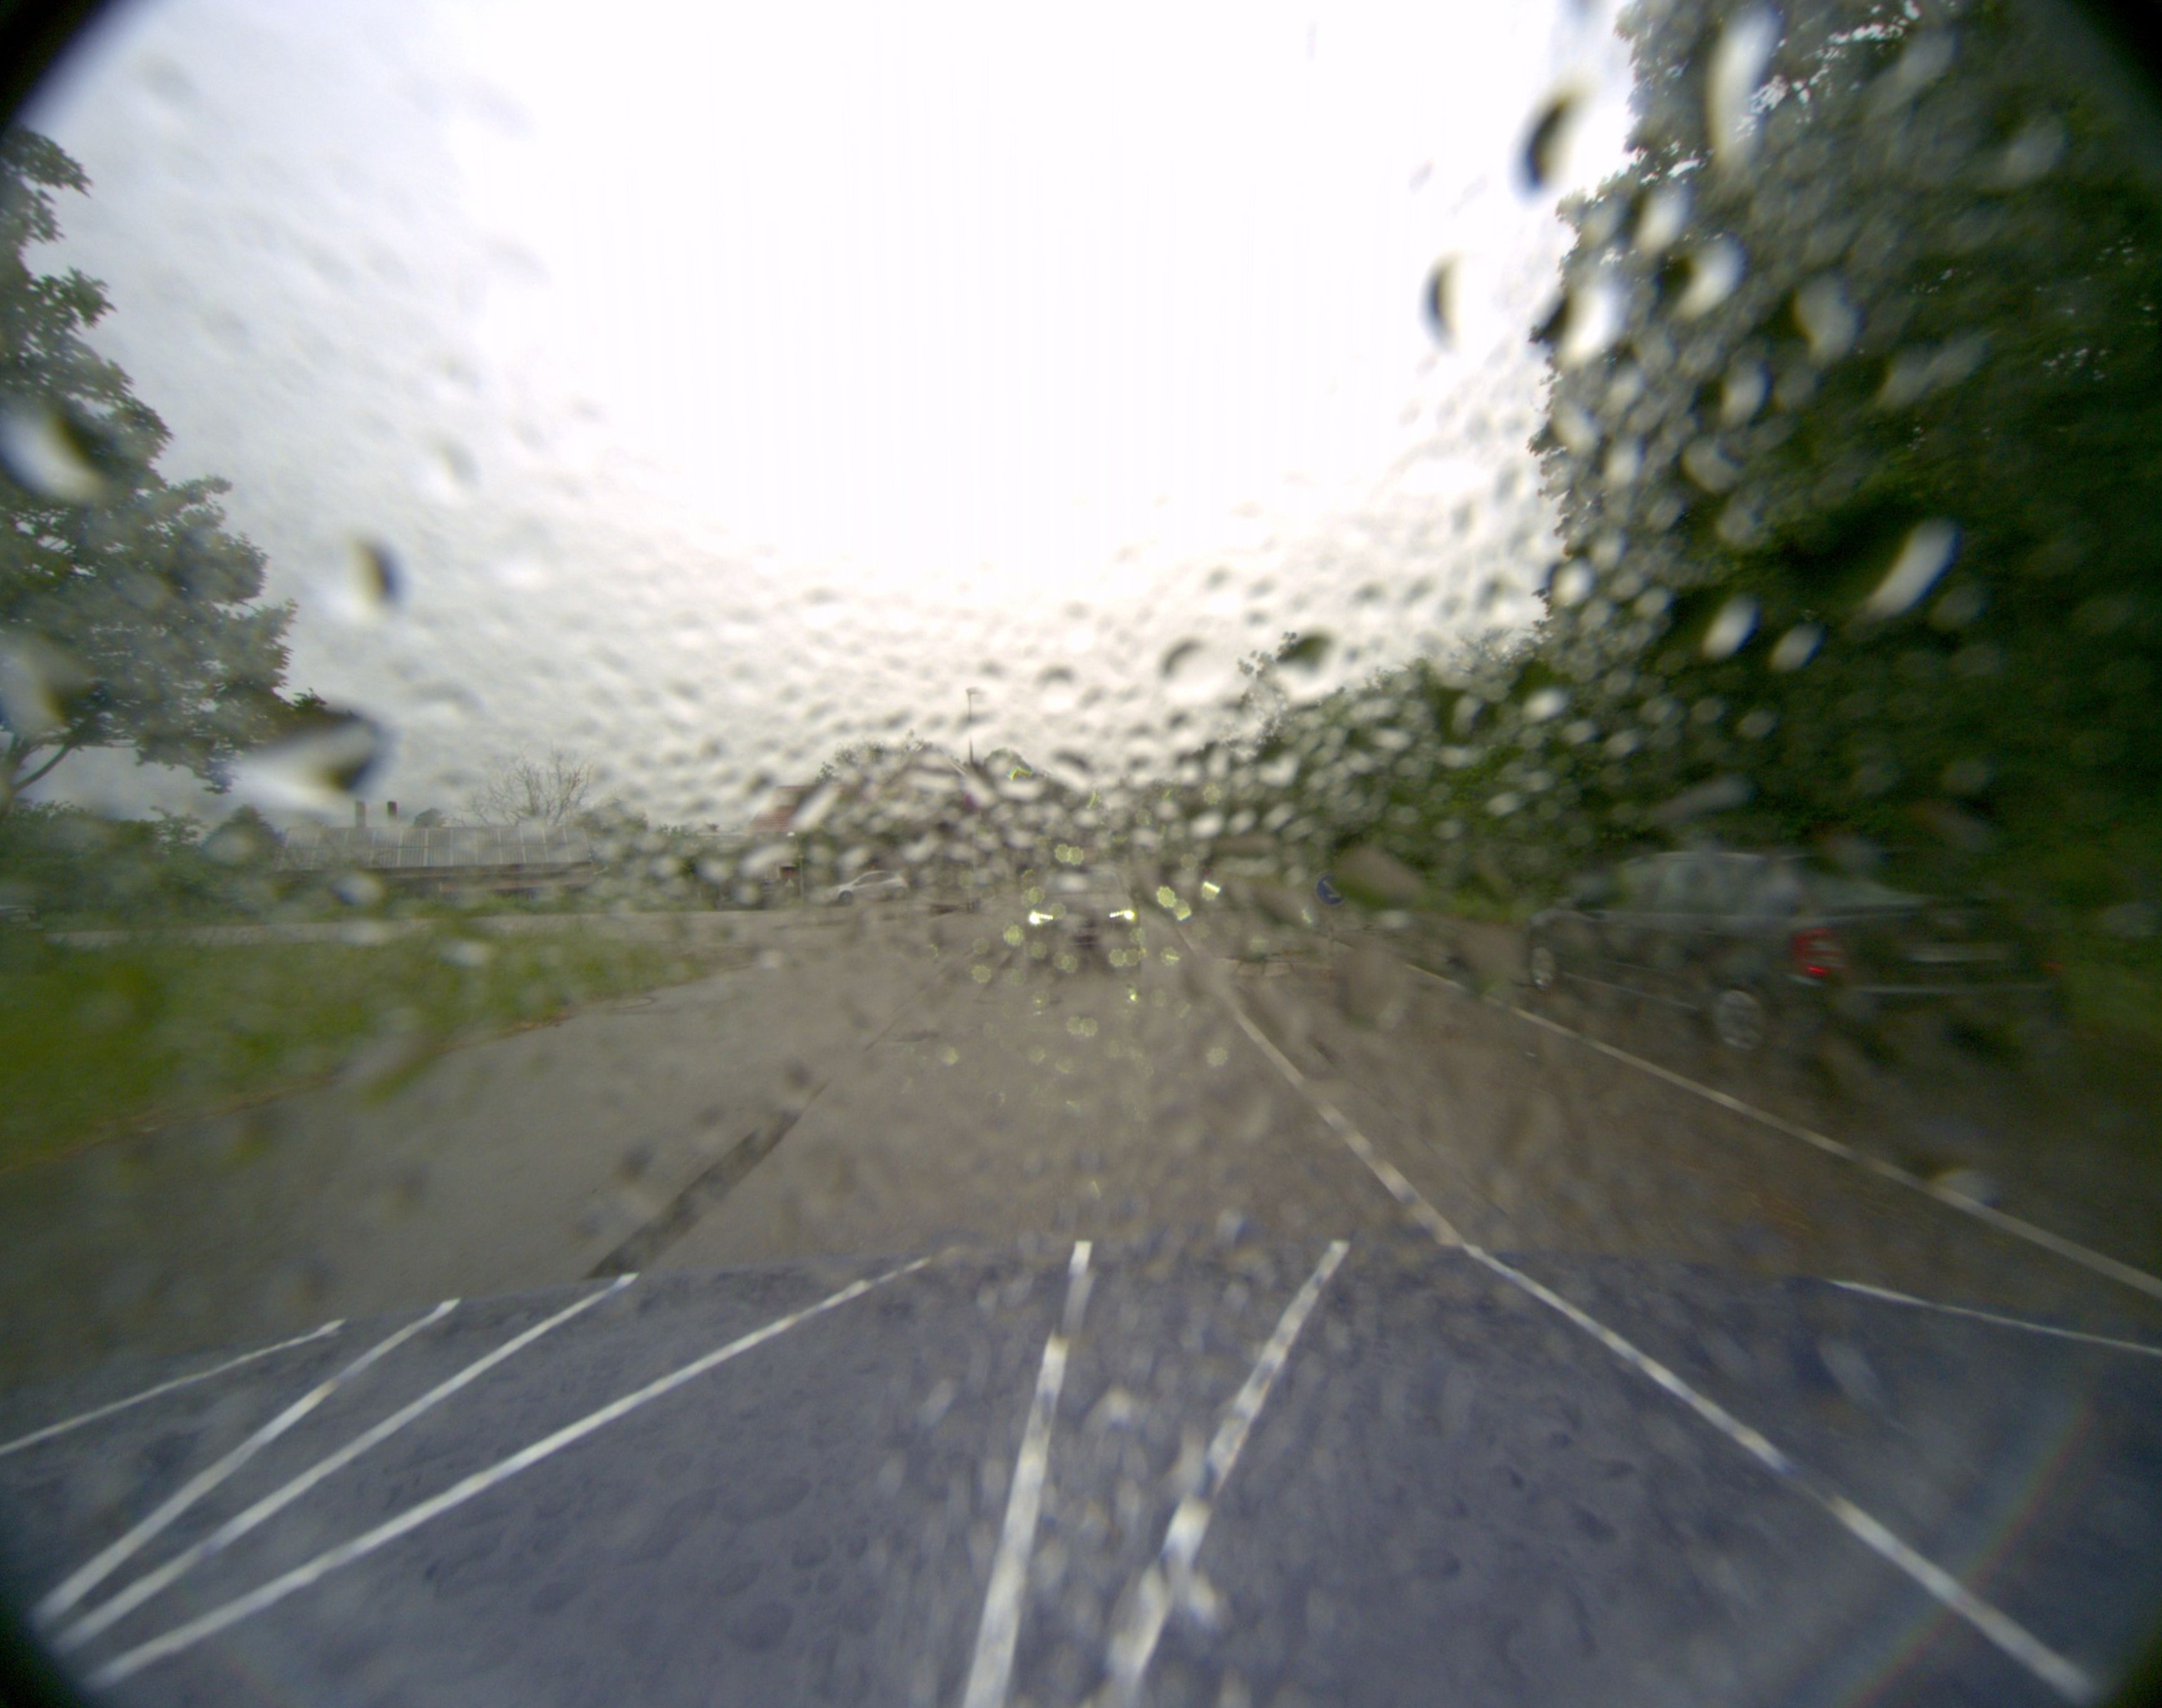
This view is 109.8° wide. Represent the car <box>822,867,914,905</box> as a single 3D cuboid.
[{"bbox_3d":[-10.254,1.489,36.653,3.862,1.523,1.715,-3,1,-30],"label":"car"}]

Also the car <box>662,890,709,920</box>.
[{"bbox_3d":[-25.674,3.252,49.240,1.937,1.674,3.990,-4,1,-38],"label":"car"}]

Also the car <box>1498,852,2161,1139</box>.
[{"bbox_3d":[5.168,0.764,6.071,1.694,1.478,4.074,-2,0,5],"label":"car"}]

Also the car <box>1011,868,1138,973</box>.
[{"bbox_3d":[0.009,1.002,13.275,1.766,1.316,4.549,-3,0,3],"label":"car"}]

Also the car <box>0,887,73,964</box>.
[{"bbox_3d":[-21.591,1.430,13.395,4.117,1.351,1.900,-4,1,-32],"label":"car"}]
